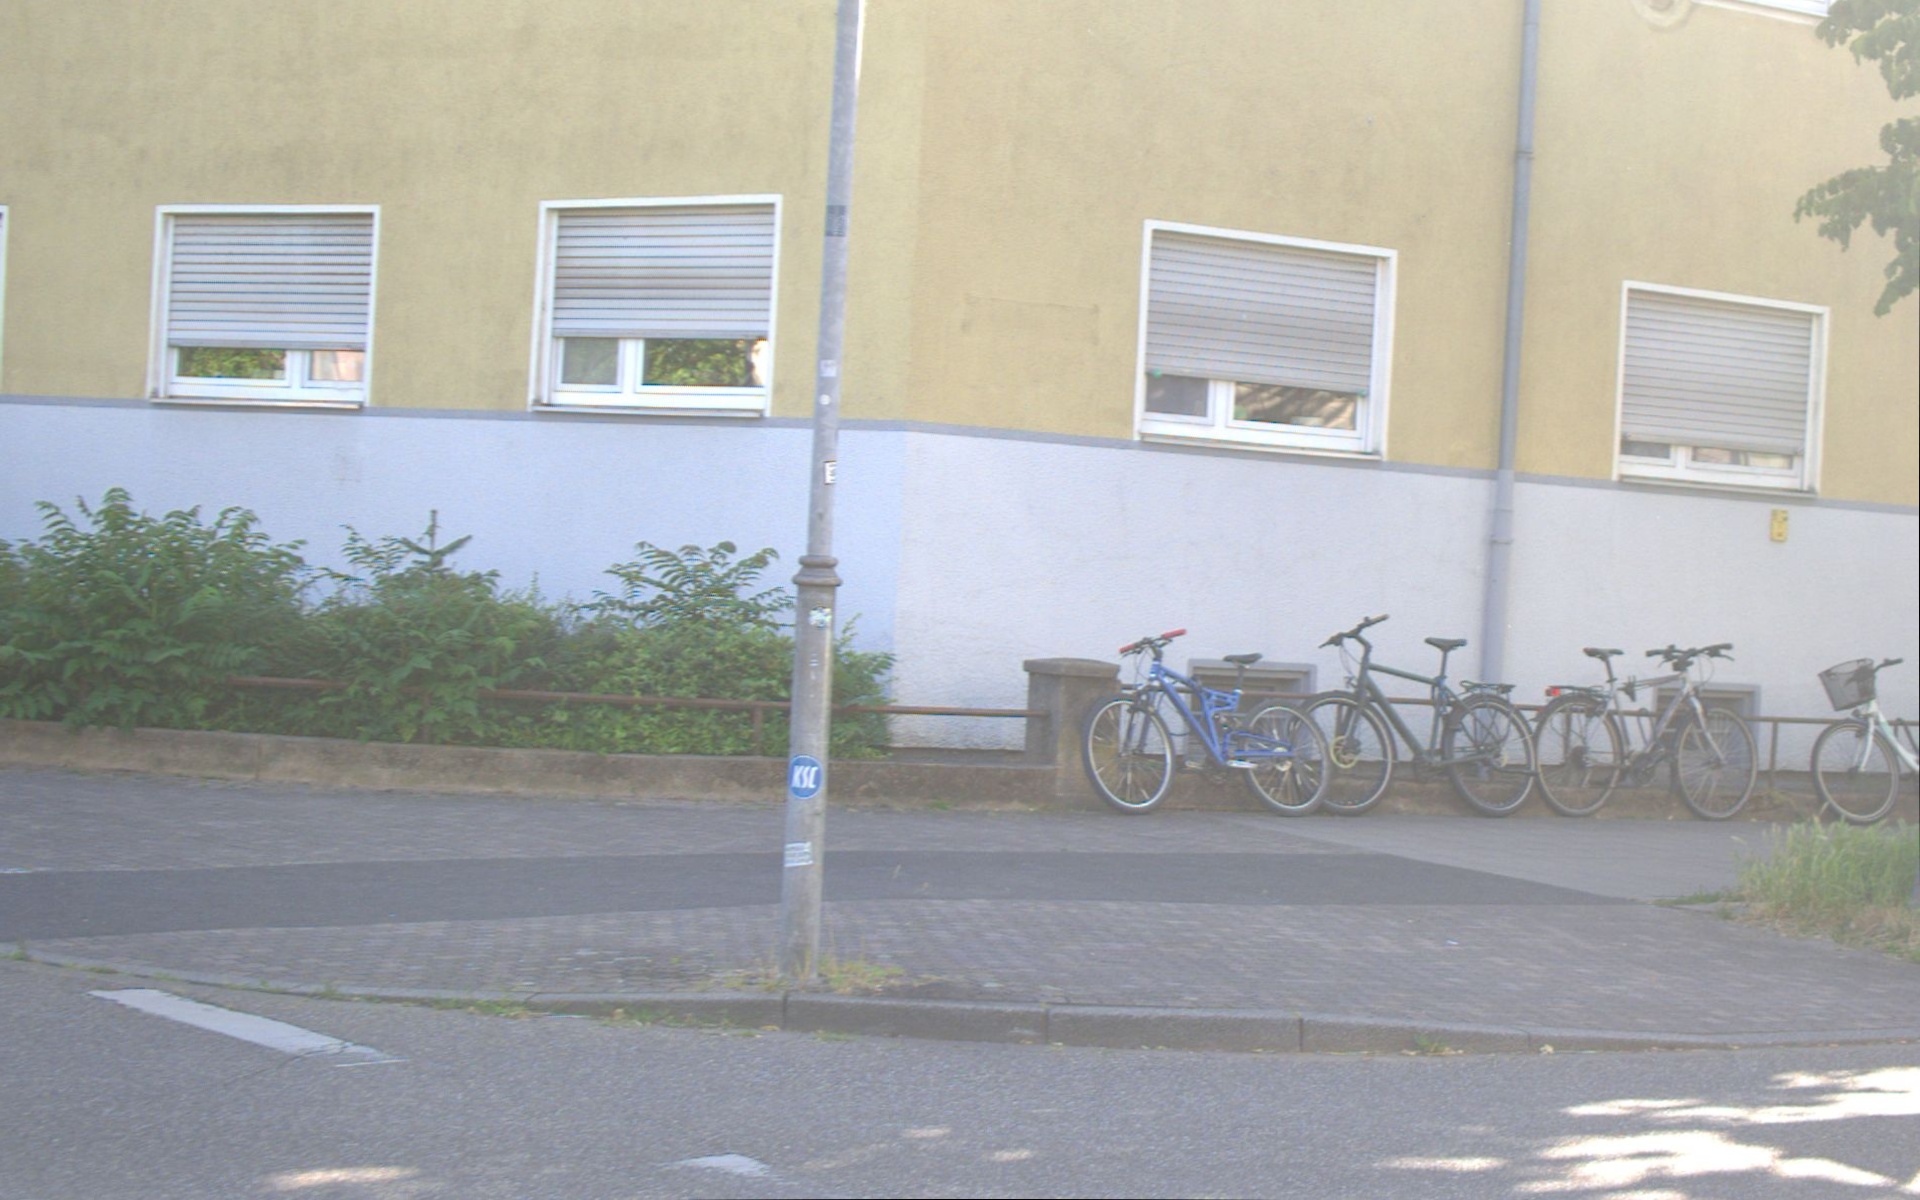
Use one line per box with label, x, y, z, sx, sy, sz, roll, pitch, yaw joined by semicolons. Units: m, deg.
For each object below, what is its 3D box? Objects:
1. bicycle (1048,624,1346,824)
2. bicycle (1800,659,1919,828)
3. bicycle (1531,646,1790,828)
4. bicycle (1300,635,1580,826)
bicycle;1.266;0.664;18.204;1.539;0.997;0.477;3;0;-32
bicycle;6.011;0.903;21.398;1.676;0.997;0.436;3;0;-32
bicycle;4.074;0.803;19.963;1.539;0.997;0.455;3;0;-32
bicycle;2.669;0.730;19.047;1.539;0.997;0.476;3;0;-32
